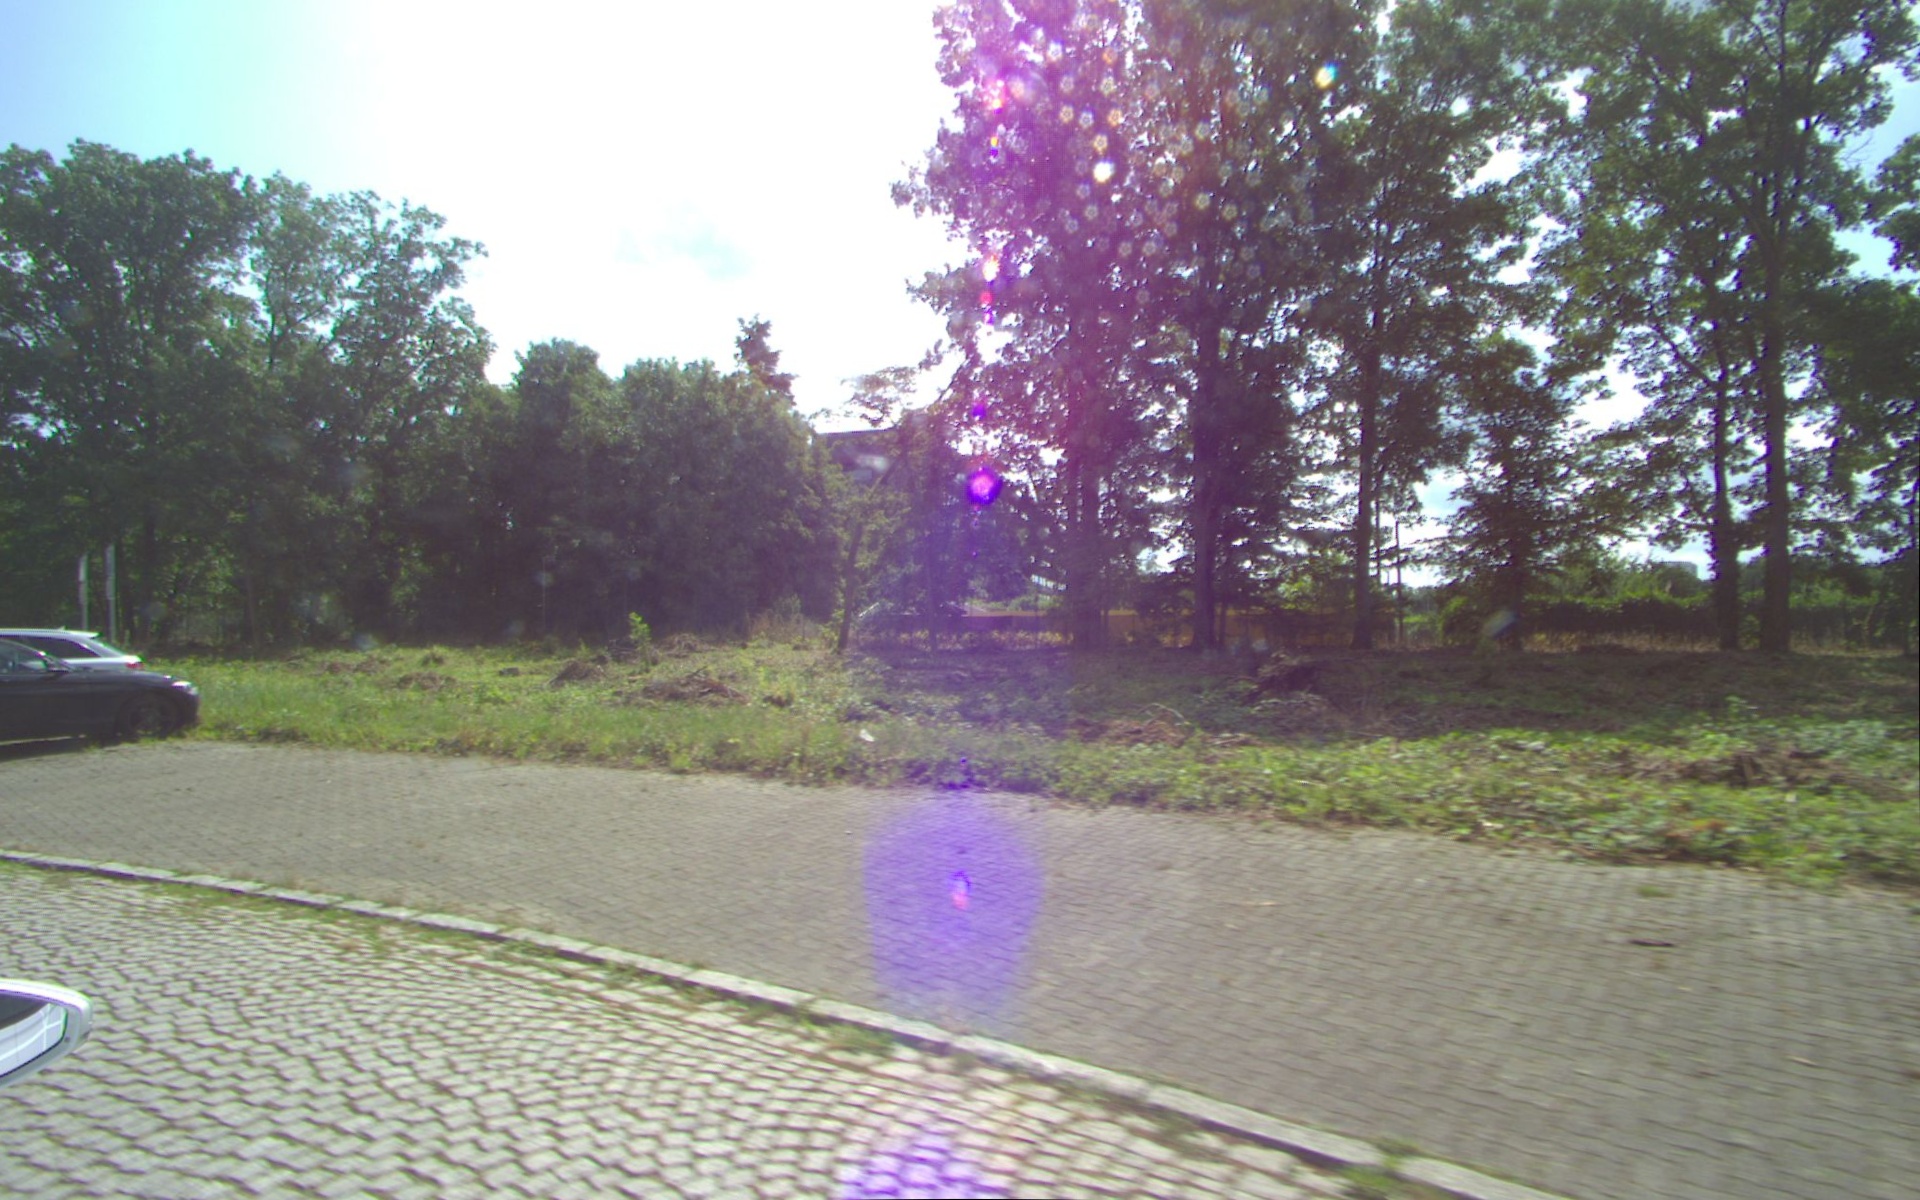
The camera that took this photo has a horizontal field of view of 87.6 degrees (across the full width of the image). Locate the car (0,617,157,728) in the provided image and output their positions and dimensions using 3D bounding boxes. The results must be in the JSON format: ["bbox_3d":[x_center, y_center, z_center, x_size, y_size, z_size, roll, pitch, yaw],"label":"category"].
[{"bbox_3d":[-14.493,1.034,13.987,1.851,1.492,4.842,0,0,38],"label":"car"}]

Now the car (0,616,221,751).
[{"bbox_3d":[-11.896,0.998,12.197,1.803,1.520,4.317,0,0,30],"label":"car"}]

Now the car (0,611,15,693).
[{"bbox_3d":[-20.472,1.026,18.019,1.857,1.573,4.833,-2,-1,38],"label":"car"}]
